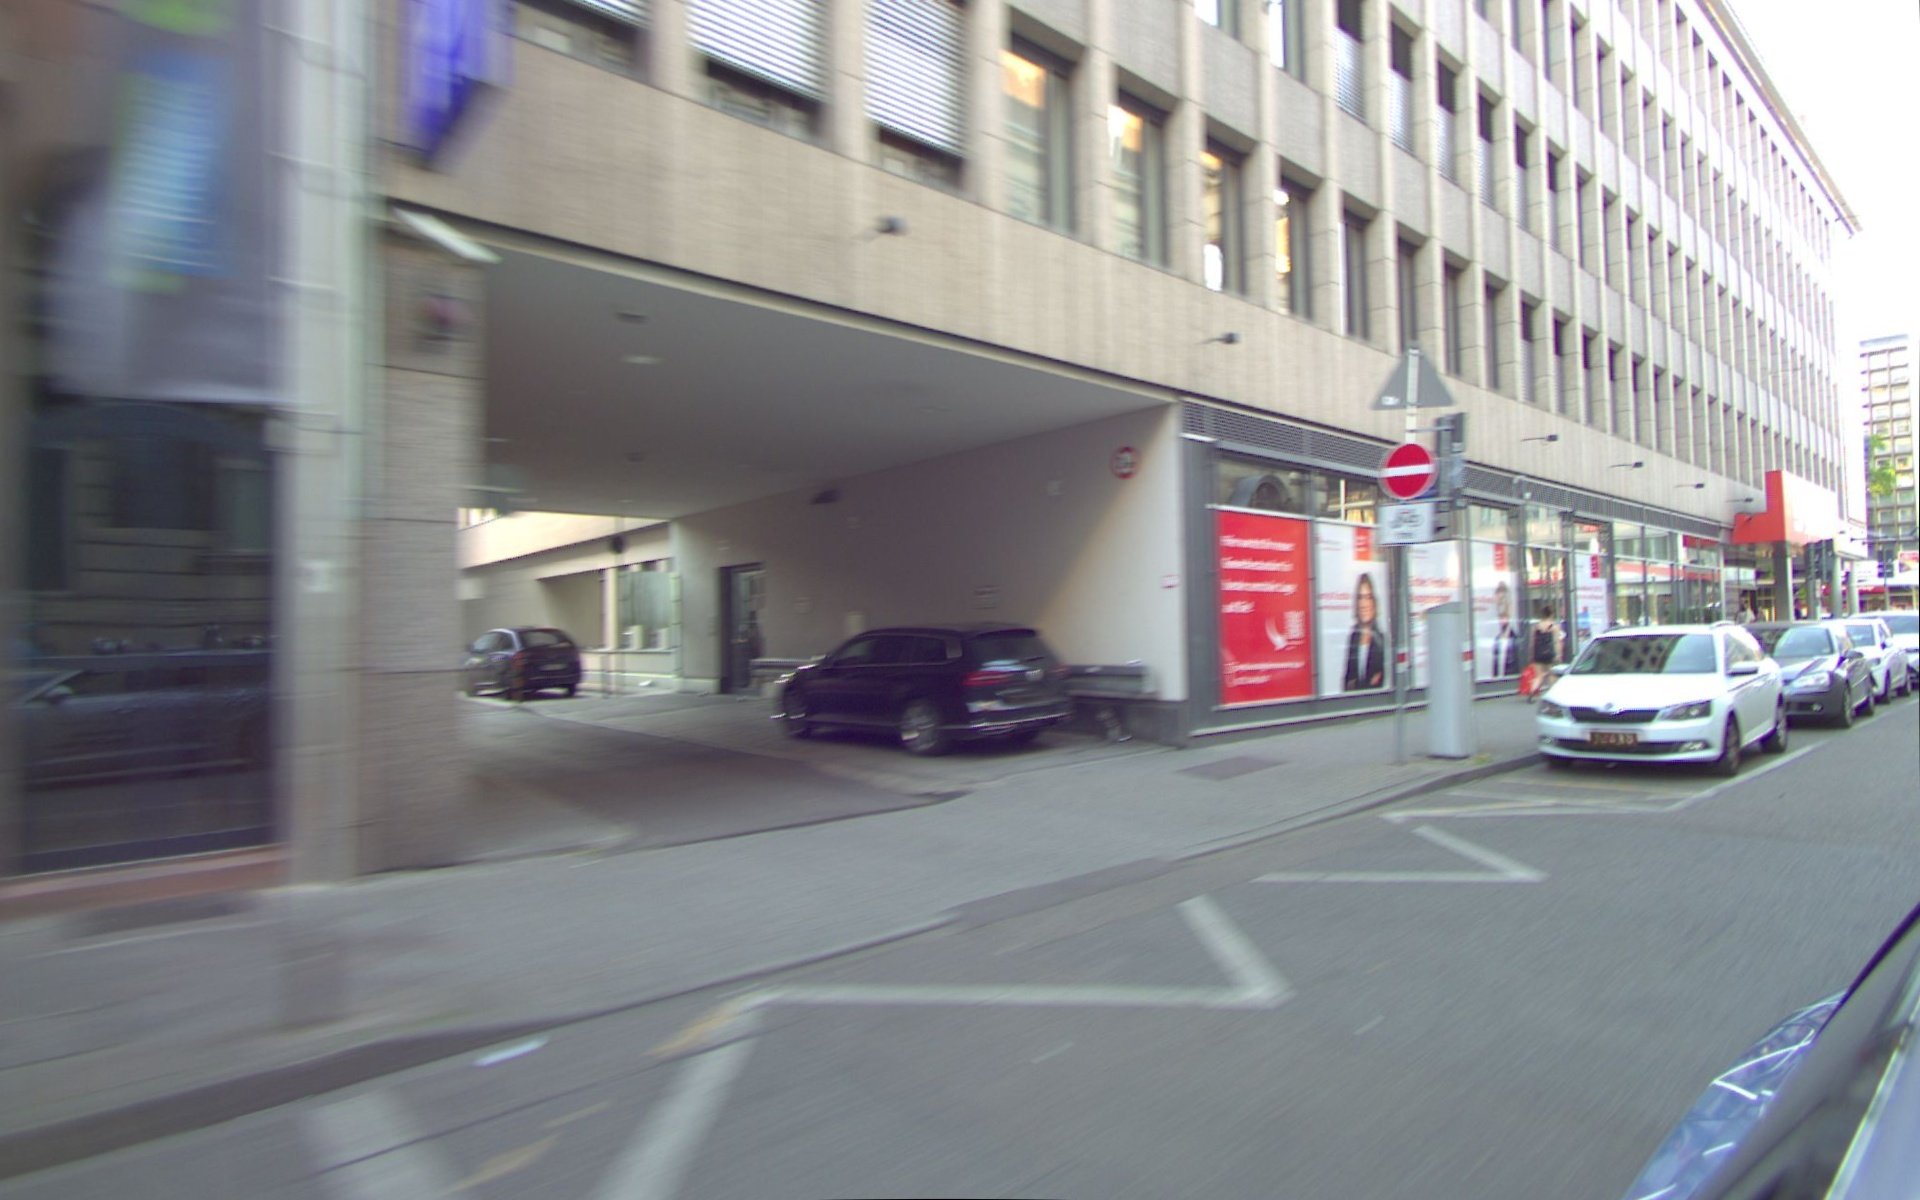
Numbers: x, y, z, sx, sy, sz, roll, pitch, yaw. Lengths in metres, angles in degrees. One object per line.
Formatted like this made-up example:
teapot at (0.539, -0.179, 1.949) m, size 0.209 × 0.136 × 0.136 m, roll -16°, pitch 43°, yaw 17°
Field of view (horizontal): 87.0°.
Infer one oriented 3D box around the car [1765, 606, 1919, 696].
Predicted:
car at (16.432, 0.892, 18.692) m, size 3.800 × 1.466 × 1.659 m, roll 0°, pitch -3°, yaw -40°

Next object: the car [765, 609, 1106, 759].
car at (-0.482, 0.961, 12.720) m, size 1.884 × 1.521 × 4.407 m, roll 0°, pitch -2°, yaw -41°

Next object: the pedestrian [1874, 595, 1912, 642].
pedestrian at (36.011, 0.715, 39.080) m, size 0.785 × 1.784 × 0.687 m, roll 0°, pitch -2°, yaw 1°

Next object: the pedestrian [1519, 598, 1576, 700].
pedestrian at (9.811, 0.804, 16.903) m, size 0.639 × 1.656 × 0.649 m, roll 1°, pitch -1°, yaw -41°

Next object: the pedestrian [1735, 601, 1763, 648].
pedestrian at (30.730, 0.954, 39.408) m, size 0.796 × 1.784 × 0.677 m, roll -2°, pitch -2°, yaw 41°

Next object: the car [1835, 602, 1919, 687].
car at (20.640, 0.901, 22.058) m, size 4.732 × 1.687 × 1.777 m, roll 0°, pitch -3°, yaw -43°

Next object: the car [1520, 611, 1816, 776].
car at (7.942, 0.899, 11.202) m, size 4.233 × 1.466 × 1.659 m, roll 0°, pitch -3°, yaw -41°

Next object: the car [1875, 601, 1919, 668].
car at (25.238, 0.868, 26.120) m, size 4.630 × 1.619 × 1.742 m, roll 1°, pitch -4°, yaw -40°

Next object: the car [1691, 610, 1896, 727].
car at (12.423, 0.928, 14.989) m, size 4.369 × 1.466 × 1.658 m, roll 0°, pitch -3°, yaw -42°

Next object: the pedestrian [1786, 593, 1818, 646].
pedestrian at (31.633, 0.729, 38.019) m, size 0.675 × 1.944 × 0.798 m, roll 2°, pitch -2°, yaw -41°

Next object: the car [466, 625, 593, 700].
car at (-10.152, 1.425, 23.736) m, size 1.675 × 1.579 × 3.680 m, roll 0°, pitch -2°, yaw -41°

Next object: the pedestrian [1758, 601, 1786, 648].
pedestrian at (31.773, 0.955, 39.599) m, size 0.797 × 1.784 × 0.676 m, roll -2°, pitch -2°, yaw 43°
